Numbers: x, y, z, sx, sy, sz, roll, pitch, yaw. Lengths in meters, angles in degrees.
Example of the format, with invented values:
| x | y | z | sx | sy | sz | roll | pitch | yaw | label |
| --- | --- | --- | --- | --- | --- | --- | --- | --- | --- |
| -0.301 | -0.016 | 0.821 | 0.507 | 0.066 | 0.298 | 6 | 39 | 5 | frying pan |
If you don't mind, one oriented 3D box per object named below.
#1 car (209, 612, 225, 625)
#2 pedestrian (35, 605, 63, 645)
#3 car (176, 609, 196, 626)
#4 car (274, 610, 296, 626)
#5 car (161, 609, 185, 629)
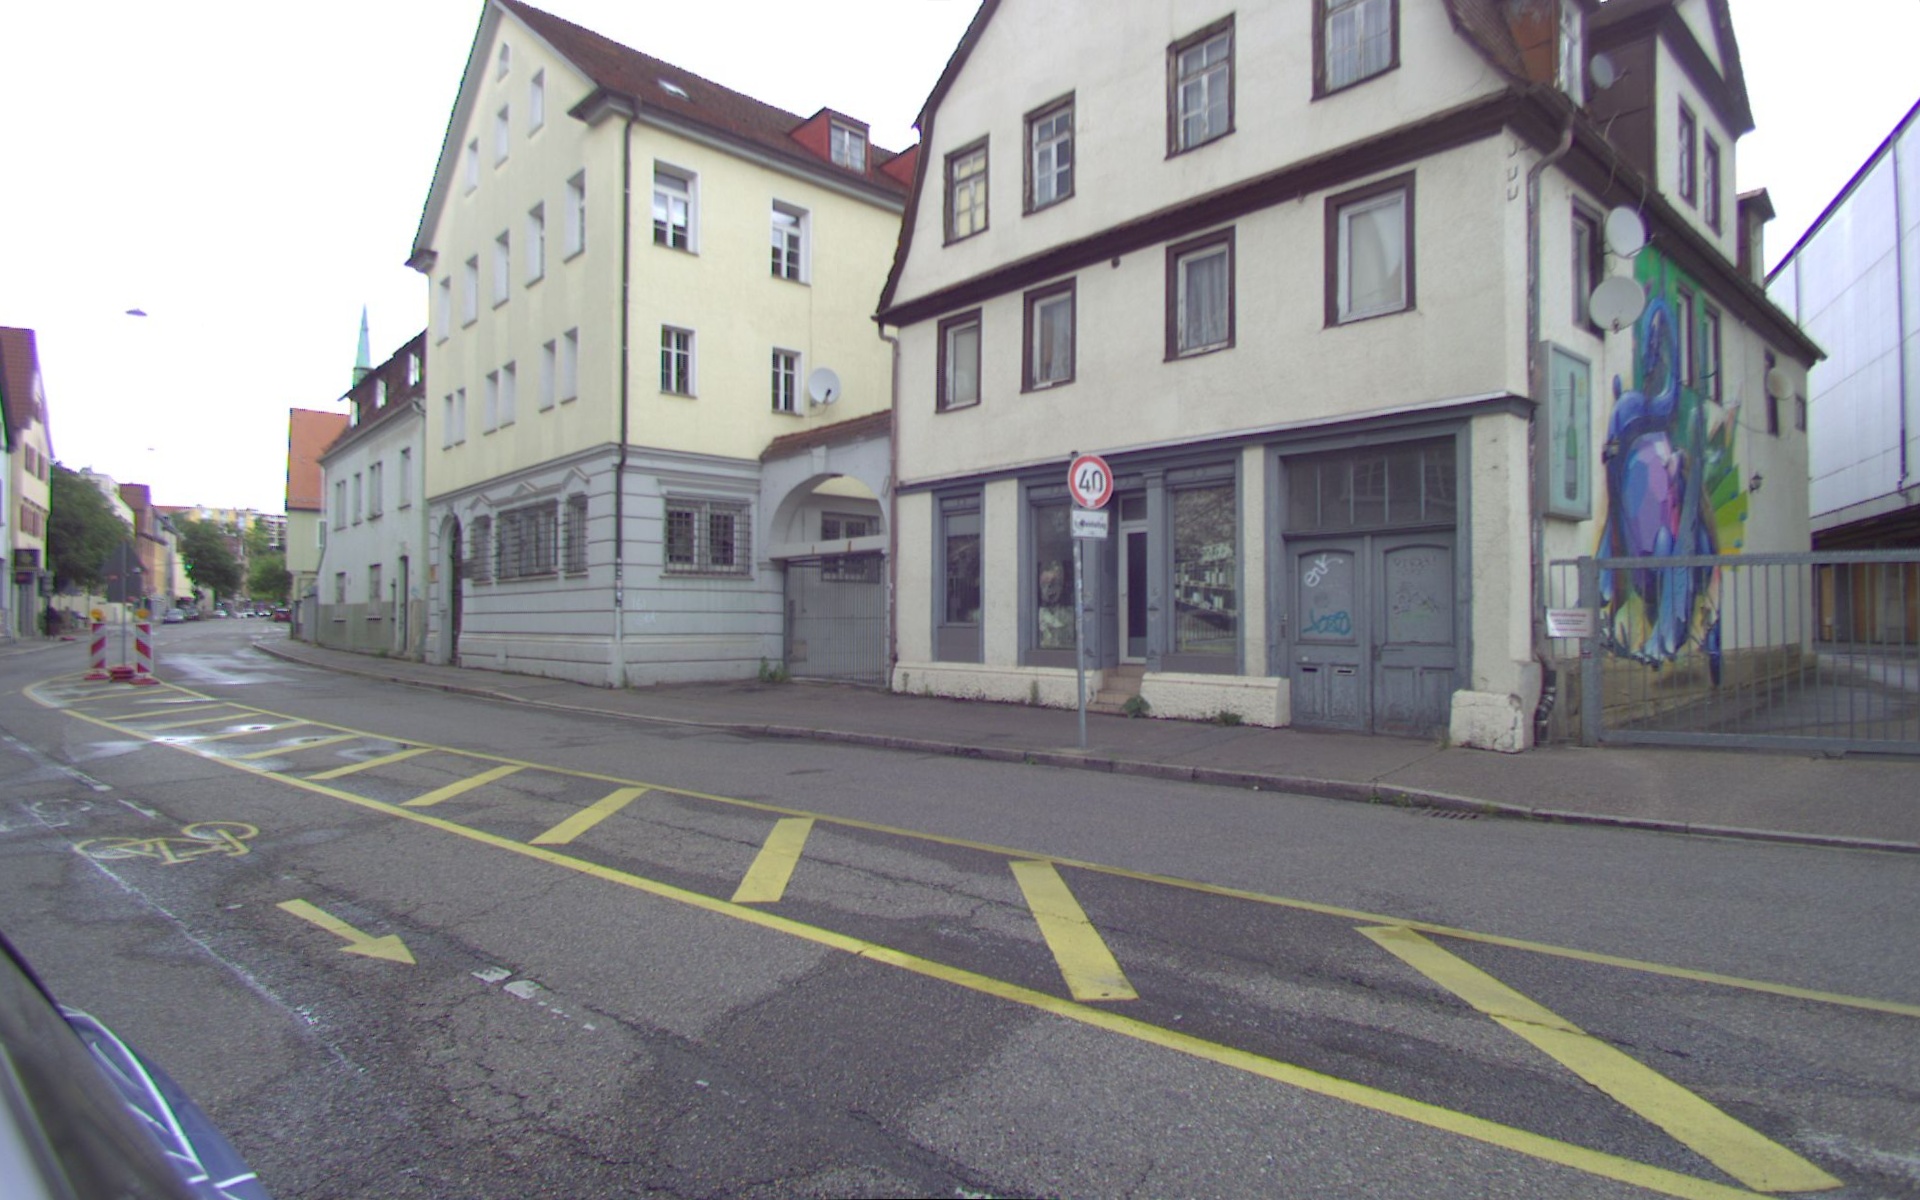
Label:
| x | y | z | sx | sy | sz | roll | pitch | yaw | label |
| --- | --- | --- | --- | --- | --- | --- | --- | --- | --- |
| -114.758 | 2.849 | 156.236 | 1.967 | 2.029 | 4.009 | 1 | -2 | -37 | car |
| -44.180 | 1.206 | 49.088 | 0.864 | 1.914 | 0.899 | 1 | -2 | -36 | pedestrian |
| -96.975 | 2.237 | 126.813 | 1.967 | 2.029 | 4.009 | 1 | -2 | -37 | car |
| -85.656 | 2.321 | 128.369 | 2.027 | 2.029 | 4.009 | 1 | -2 | -37 | car |
| -84.786 | 2.049 | 109.054 | 1.967 | 2.029 | 4.009 | 1 | -2 | -37 | car |
